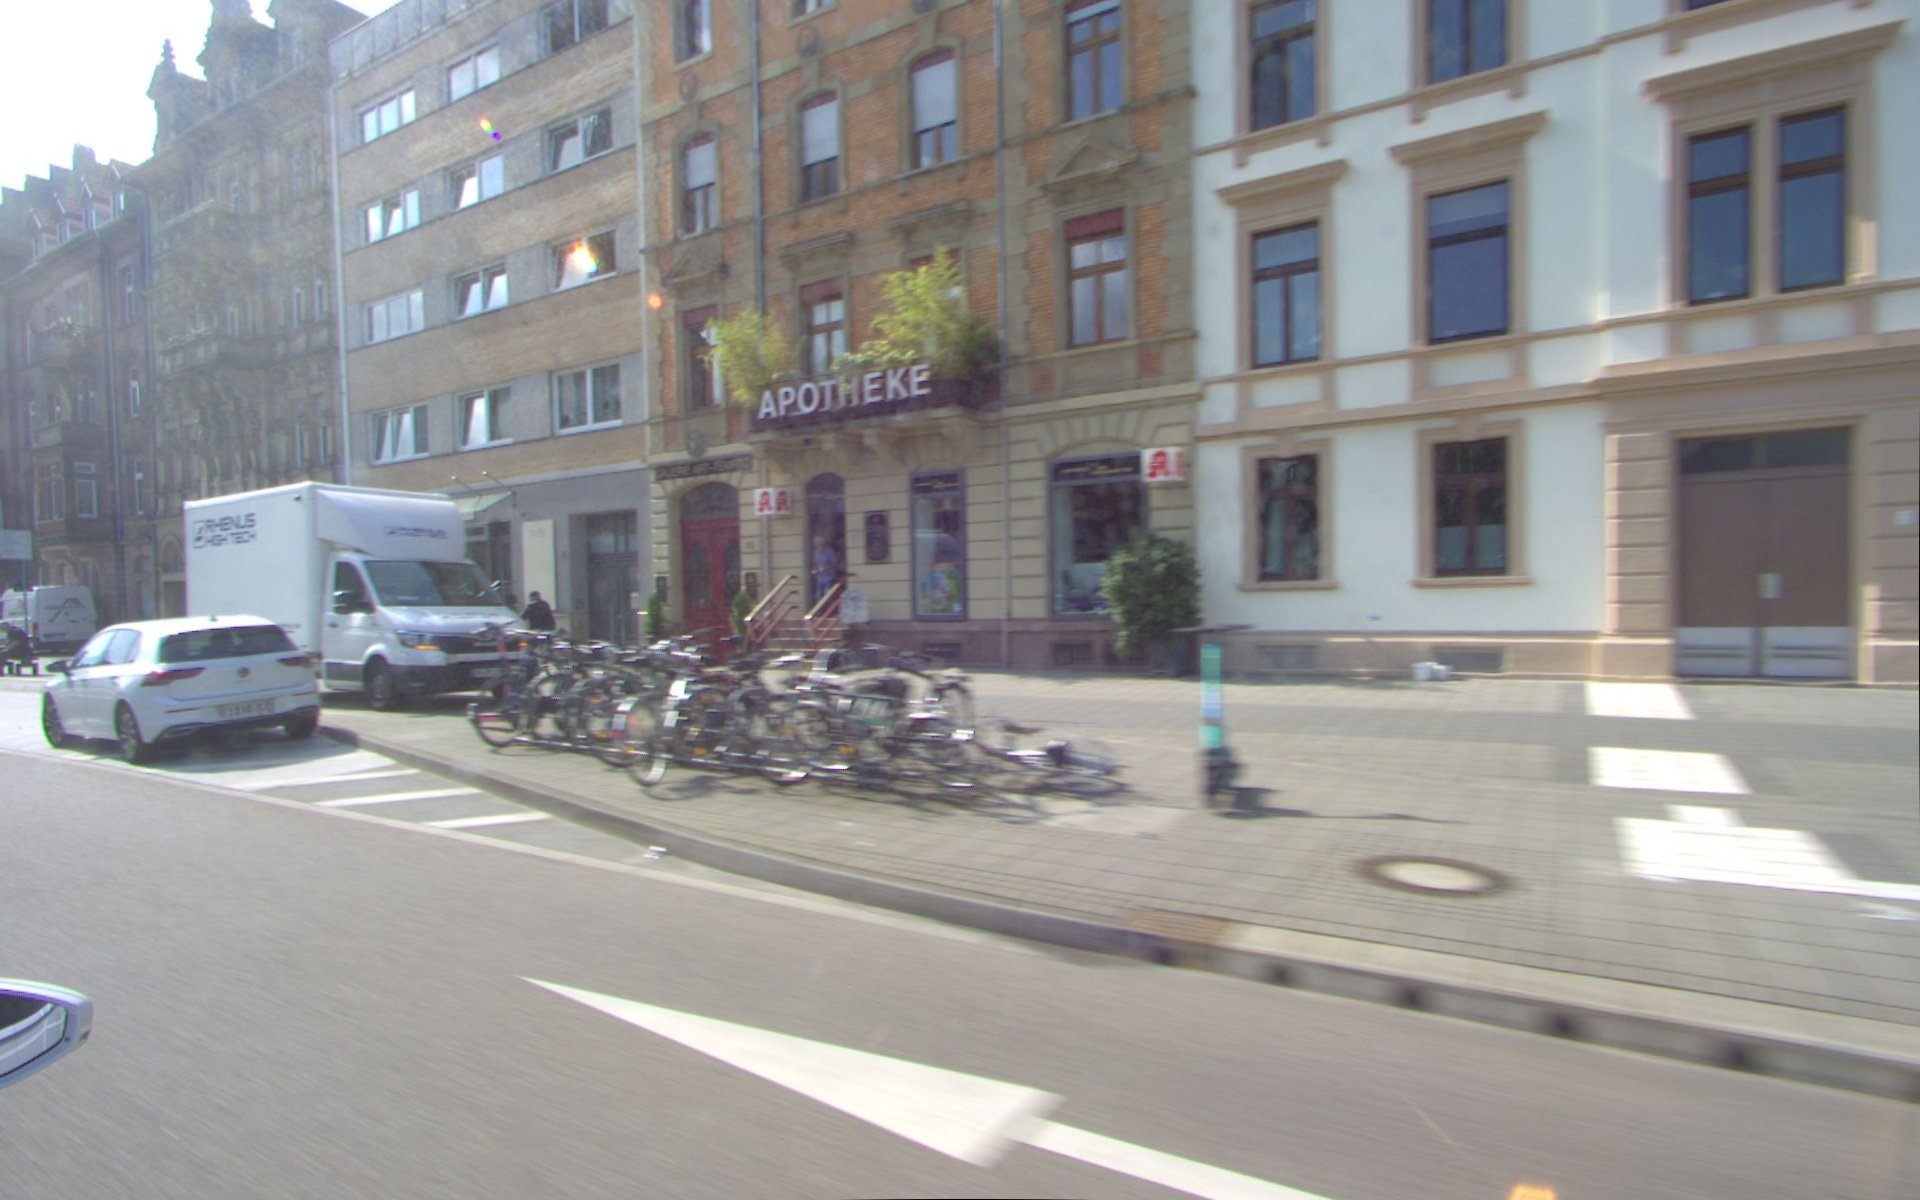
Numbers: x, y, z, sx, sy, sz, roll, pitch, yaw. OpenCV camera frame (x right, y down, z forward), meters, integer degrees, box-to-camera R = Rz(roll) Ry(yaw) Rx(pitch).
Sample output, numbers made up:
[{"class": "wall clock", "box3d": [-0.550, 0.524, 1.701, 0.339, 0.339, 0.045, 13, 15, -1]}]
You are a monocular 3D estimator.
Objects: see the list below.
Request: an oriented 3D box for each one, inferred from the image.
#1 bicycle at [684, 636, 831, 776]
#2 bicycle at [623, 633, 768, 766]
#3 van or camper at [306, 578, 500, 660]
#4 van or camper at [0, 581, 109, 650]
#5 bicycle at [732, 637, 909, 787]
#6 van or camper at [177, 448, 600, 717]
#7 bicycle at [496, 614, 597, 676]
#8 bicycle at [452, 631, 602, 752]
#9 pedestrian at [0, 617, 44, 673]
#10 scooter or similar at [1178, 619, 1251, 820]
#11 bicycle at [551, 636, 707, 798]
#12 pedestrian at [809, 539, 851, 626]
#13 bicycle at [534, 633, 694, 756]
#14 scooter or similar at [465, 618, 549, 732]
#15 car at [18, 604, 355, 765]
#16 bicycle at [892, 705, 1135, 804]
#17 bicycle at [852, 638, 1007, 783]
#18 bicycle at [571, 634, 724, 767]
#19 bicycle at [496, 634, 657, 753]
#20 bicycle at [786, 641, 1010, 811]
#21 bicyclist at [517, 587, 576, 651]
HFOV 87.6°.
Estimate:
[{"class": "bicycle", "box3d": [-1.771, 0.895, 9.014, 0.366, 1.099, 1.760, 1, 0, 22]}, {"class": "bicycle", "box3d": [-2.427, 0.877, 9.410, 0.366, 1.099, 1.761, 1, 0, 20]}, {"class": "van or camper", "box3d": [-14.711, 0.475, 26.363, 5.218, 1.931, 1.990, -1, 2, 30]}, {"class": "van or camper", "box3d": [-35.351, 0.581, 38.821, 5.486, 2.507, 1.989, -1, 1, 32]}, {"class": "bicycle", "box3d": [-1.108, 0.872, 8.333, 0.367, 1.099, 1.754, 1, 0, 34]}, {"class": "van or camper", "box3d": [-9.216, -0.160, 15.796, 7.534, 3.375, 2.705, -1, 0, 34]}, {"class": "bicycle", "box3d": [-7.909, 0.878, 19.096, 2.180, 1.060, 0.702, -5, -5, 34]}, {"class": "bicycle", "box3d": [-4.396, 0.888, 10.311, 0.365, 1.099, 1.762, 1, 0, 16]}, {"class": "pedestrian", "box3d": [-23.053, 1.094, 24.384, 0.806, 1.332, 0.745, 0, -2, -6]}, {"class": "scooter or similar", "box3d": [1.803, 0.781, 7.031, 0.376, 1.255, 1.162, 0, 1, 20]}, {"class": "bicycle", "box3d": [-2.534, 0.850, 7.832, 0.365, 1.099, 1.600, 1, 0, 13]}, {"class": "pedestrian", "box3d": [-2.627, -0.356, 20.279, 0.605, 1.721, 0.588, 1, 2, 29]}, {"class": "bicycle", "box3d": [-3.414, 0.894, 10.052, 0.366, 1.099, 1.758, 1, 0, 26]}, {"class": "scooter or similar", "box3d": [-5.129, 0.824, 11.315, 1.237, 1.229, 0.367, -1, -2, 41]}, {"class": "car", "box3d": [-9.118, 0.882, 11.711, 4.284, 1.457, 1.785, -2, 3, 34]}, {"class": "bicycle", "box3d": [0.380, 1.146, 7.558, 1.737, 0.594, 0.638, -1, 0, -8]}, {"class": "bicycle", "box3d": [-0.214, 0.888, 8.607, 0.367, 1.099, 1.754, 1, 0, 34]}, {"class": "bicycle", "box3d": [-2.877, 0.882, 9.392, 0.366, 1.099, 1.761, 1, 0, 20]}, {"class": "bicycle", "box3d": [-3.890, 0.909, 10.301, 0.366, 1.099, 1.758, 1, 0, 26]}, {"class": "bicycle", "box3d": [-0.490, 0.877, 7.366, 1.738, 1.085, 0.370, 1, 0, 32]}, {"class": "bicyclist", "box3d": [-7.887, 0.375, 19.101, 0.803, 1.161, 0.706, -5, -4, 34]}]
